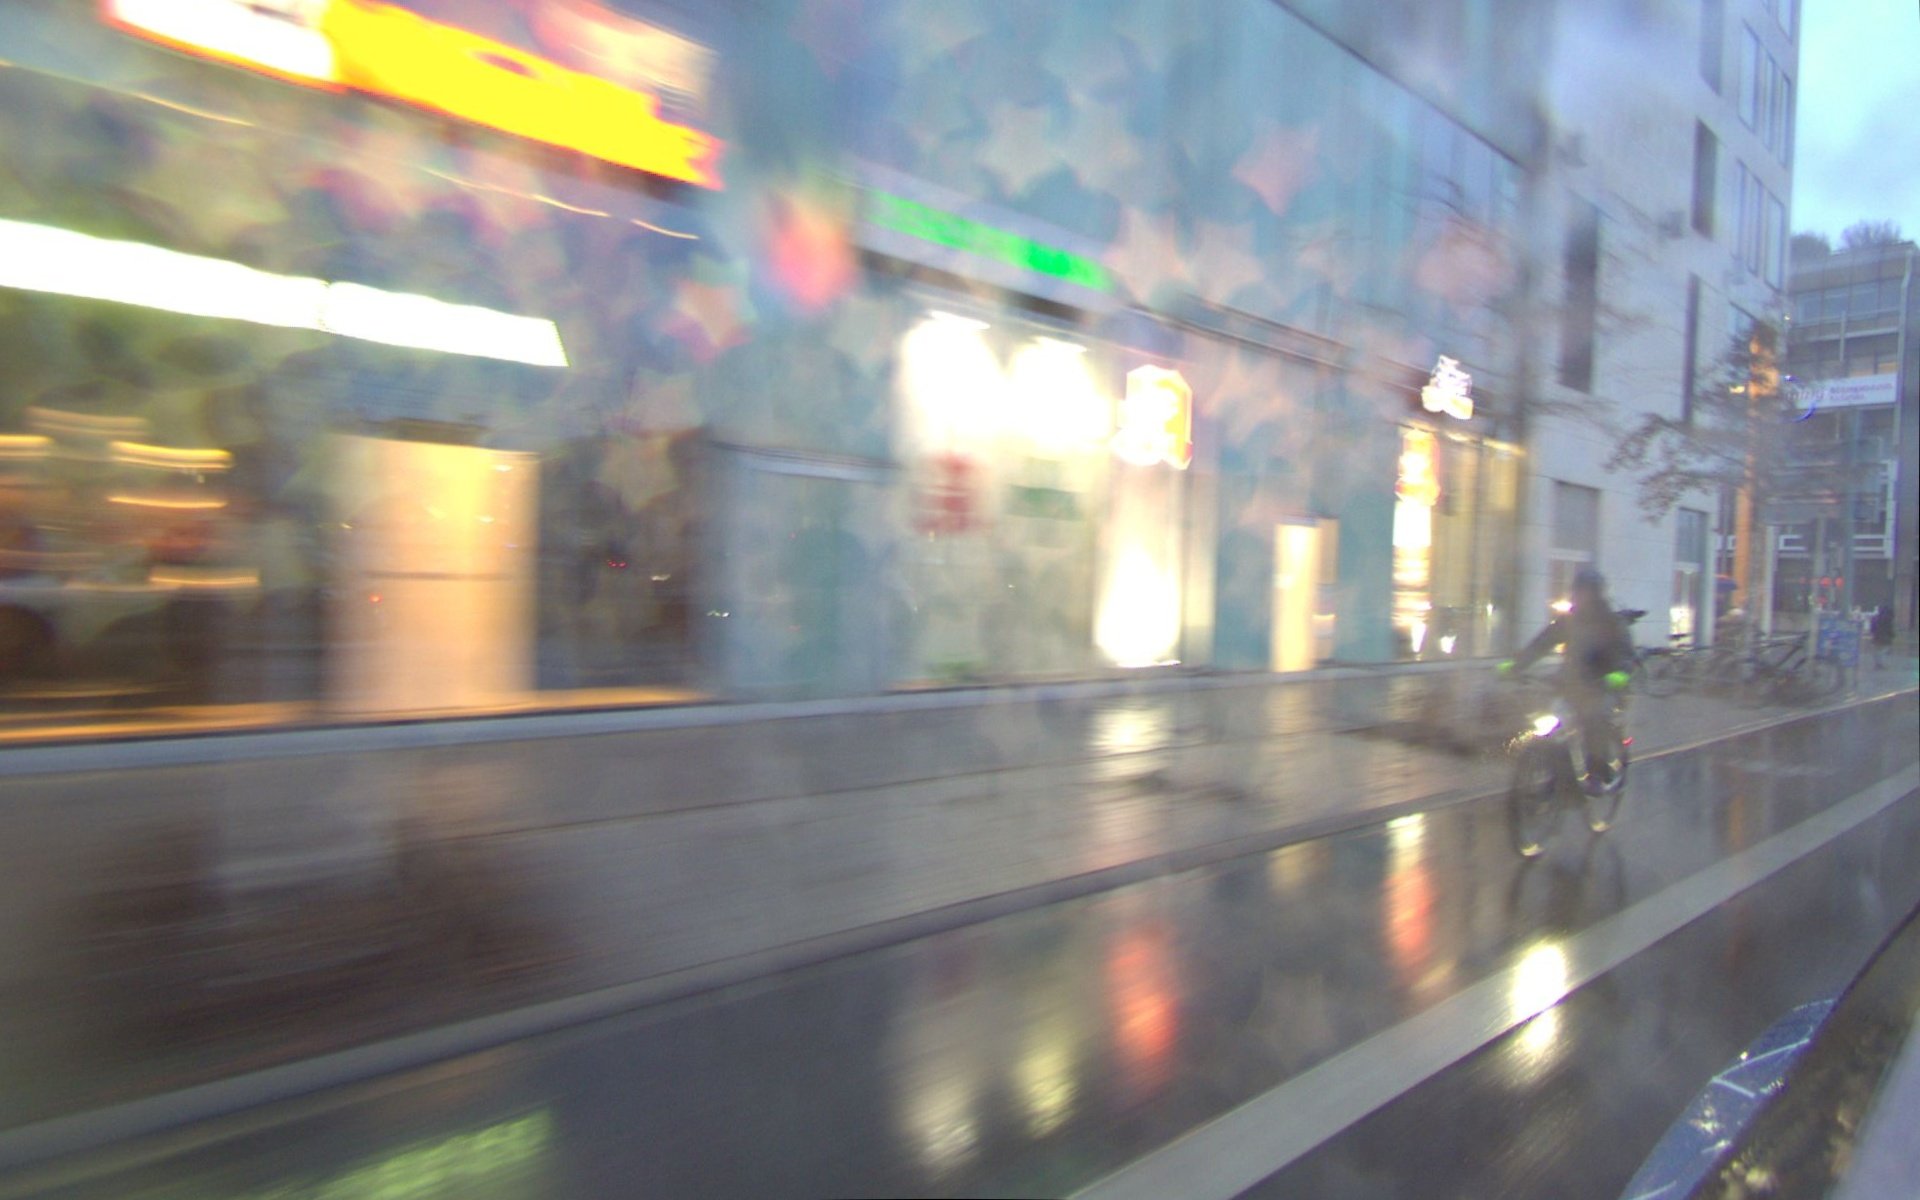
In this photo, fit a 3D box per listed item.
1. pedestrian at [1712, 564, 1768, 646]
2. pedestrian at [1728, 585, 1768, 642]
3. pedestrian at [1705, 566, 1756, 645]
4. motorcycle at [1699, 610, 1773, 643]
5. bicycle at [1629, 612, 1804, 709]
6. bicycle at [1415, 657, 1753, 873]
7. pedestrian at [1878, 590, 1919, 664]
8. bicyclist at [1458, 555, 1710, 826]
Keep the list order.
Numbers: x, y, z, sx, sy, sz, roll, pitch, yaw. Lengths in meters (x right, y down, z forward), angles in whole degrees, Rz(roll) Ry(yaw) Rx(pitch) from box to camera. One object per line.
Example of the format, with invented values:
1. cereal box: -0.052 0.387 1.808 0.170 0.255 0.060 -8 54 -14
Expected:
1. pedestrian: 21.586 0.135 28.020 0.696 2.219 0.963 1 1 -27
2. pedestrian: 22.781 0.389 29.261 0.492 1.628 0.779 2 0 -38
3. pedestrian: 21.934 0.139 28.826 0.569 2.188 0.969 1 1 -27
4. motorcycle: 22.388 0.758 29.221 0.387 0.901 1.637 2 0 -37
5. bicycle: 11.048 0.841 14.841 0.654 1.189 1.909 1 3 -38
6. bicycle: 3.898 0.912 6.265 2.197 1.012 0.946 1 0 -34
7. pedestrian: 22.769 0.642 24.478 0.704 1.715 0.713 4 2 40
8. bicyclist: 3.816 0.489 6.210 1.046 1.481 0.946 1 0 -33
